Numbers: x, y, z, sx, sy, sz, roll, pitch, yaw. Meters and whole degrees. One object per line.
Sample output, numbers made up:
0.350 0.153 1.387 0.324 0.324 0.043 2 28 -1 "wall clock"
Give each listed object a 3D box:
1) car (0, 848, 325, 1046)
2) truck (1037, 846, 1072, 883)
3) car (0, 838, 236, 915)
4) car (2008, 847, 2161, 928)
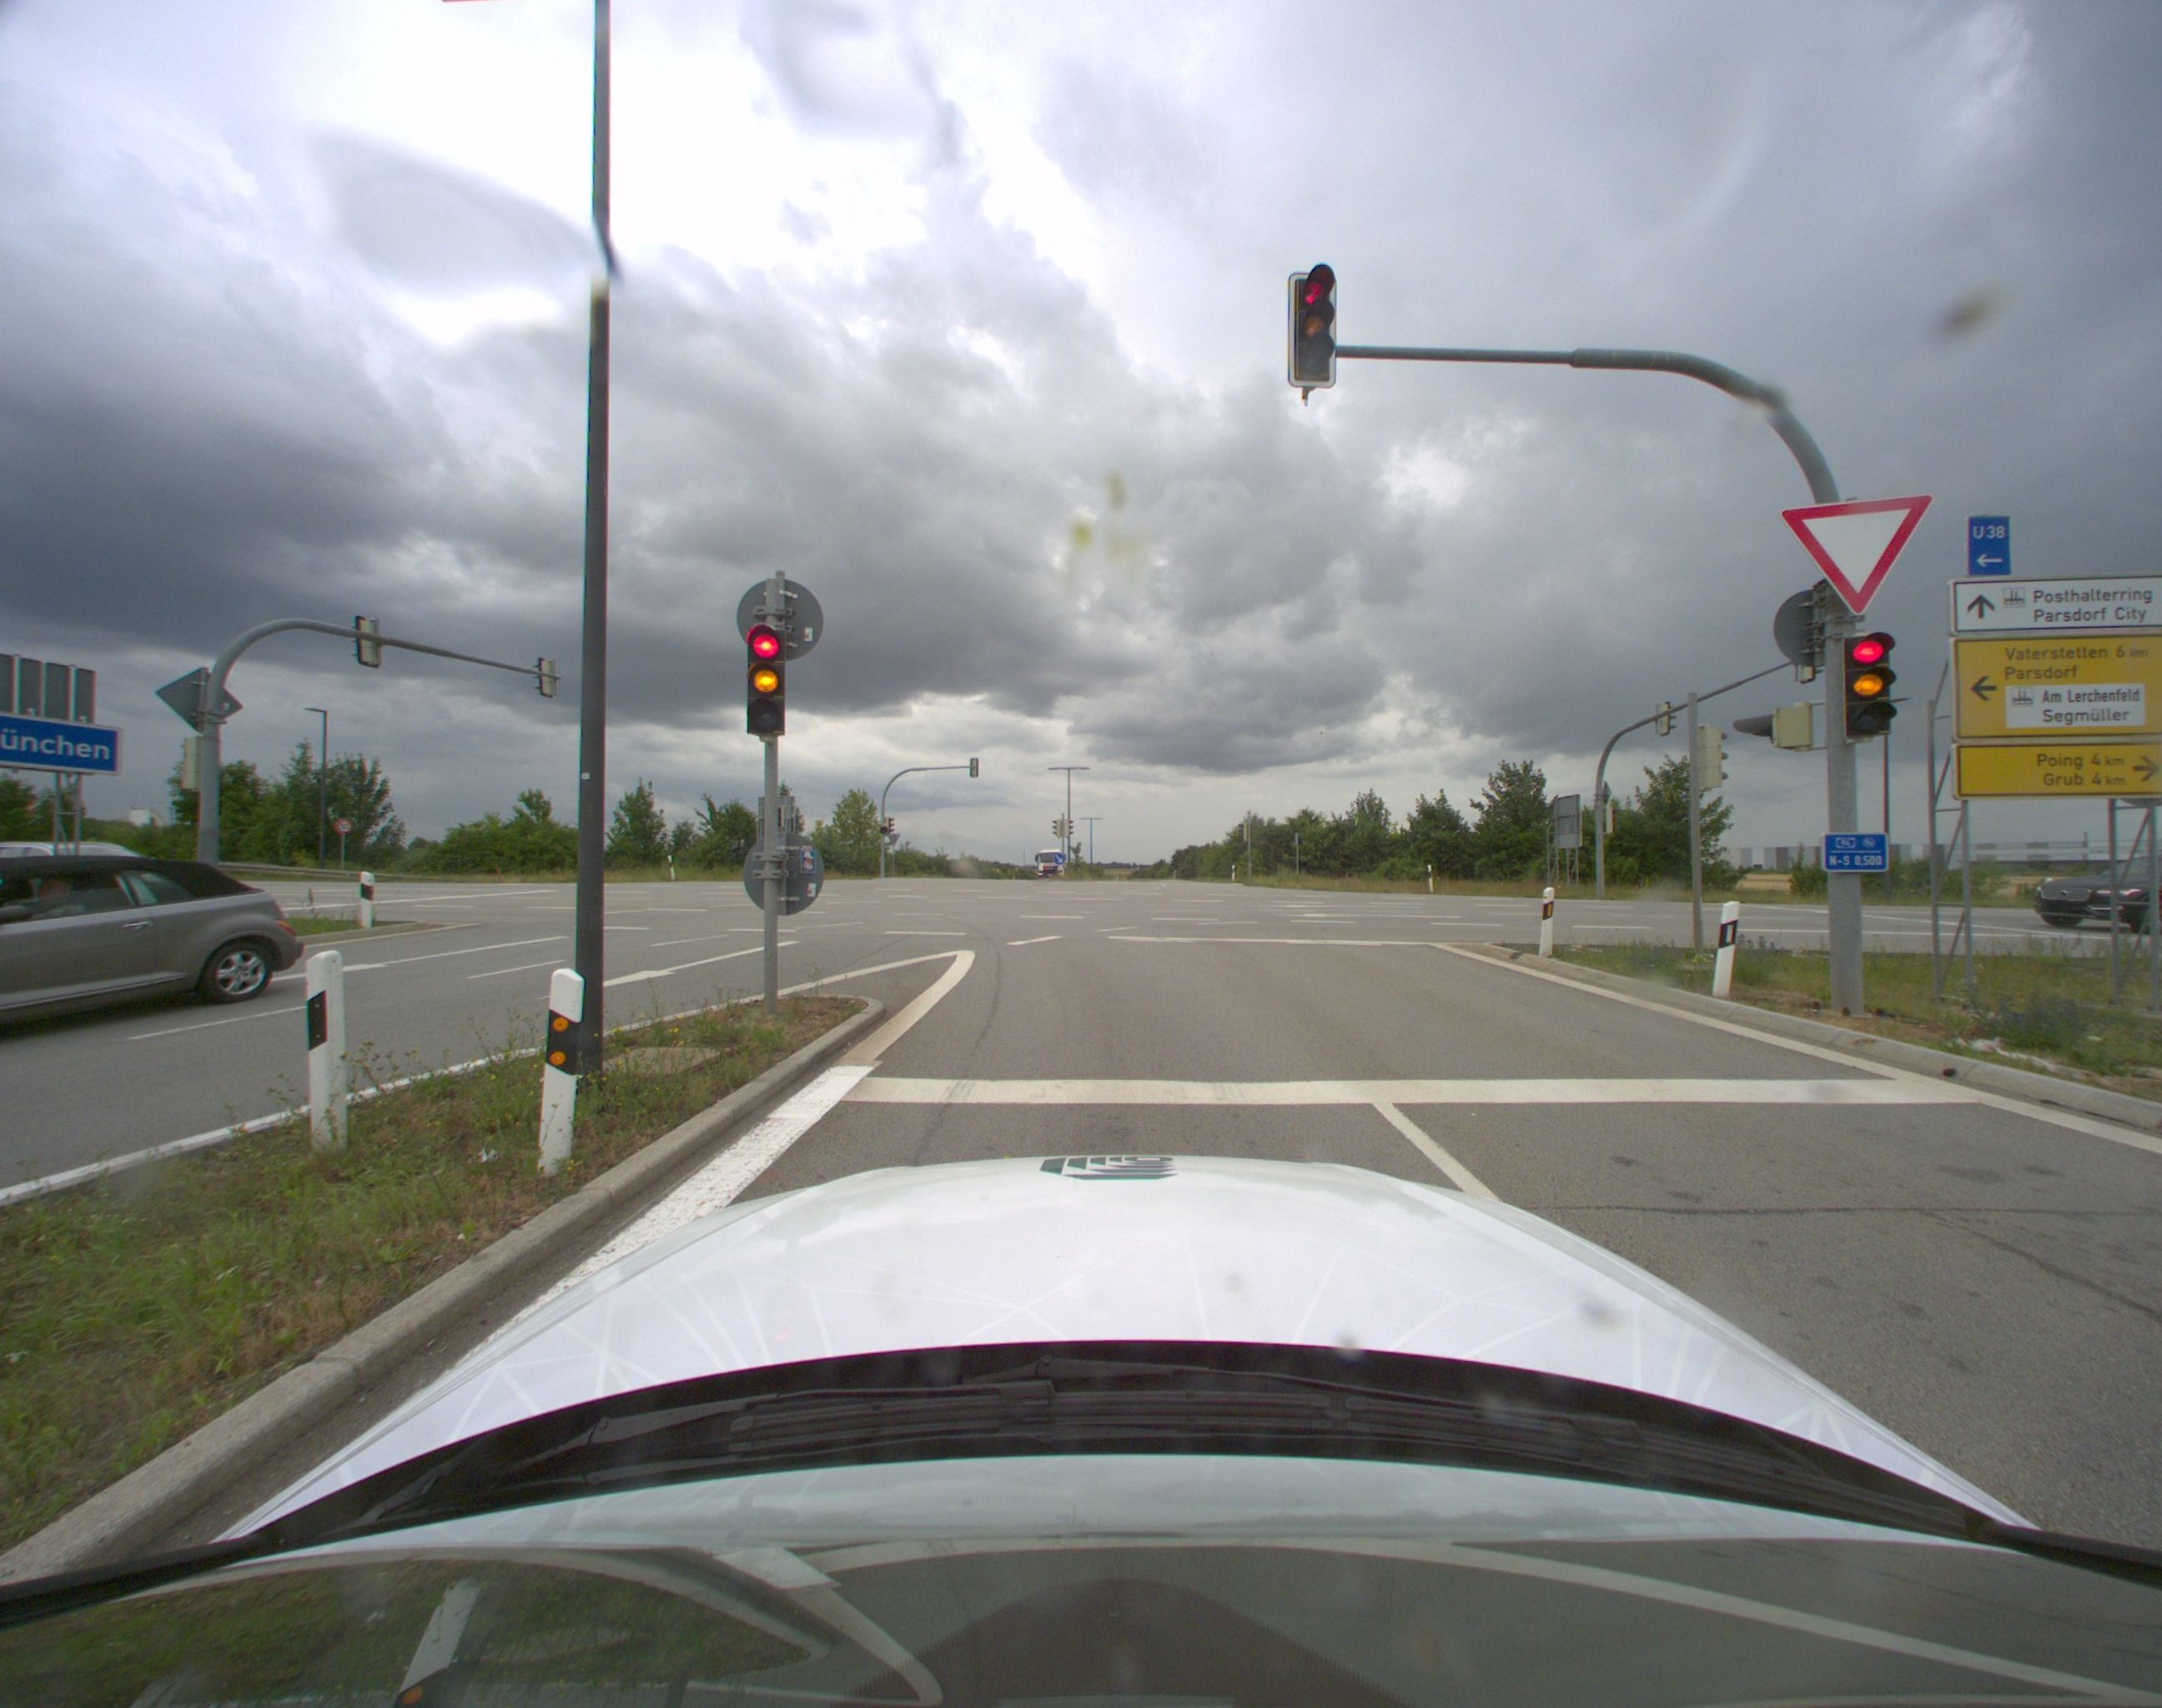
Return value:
-9.371 0.732 6.939 1.803 1.520 4.244 0 1 2 "car"
-2.530 1.114 80.839 2.858 3.408 8.654 0 -2 2 "truck"
-22.478 0.461 18.437 4.909 1.610 1.924 0 1 5 "car"
24.086 0.726 17.763 4.951 1.684 2.006 0 0 10 "car"
